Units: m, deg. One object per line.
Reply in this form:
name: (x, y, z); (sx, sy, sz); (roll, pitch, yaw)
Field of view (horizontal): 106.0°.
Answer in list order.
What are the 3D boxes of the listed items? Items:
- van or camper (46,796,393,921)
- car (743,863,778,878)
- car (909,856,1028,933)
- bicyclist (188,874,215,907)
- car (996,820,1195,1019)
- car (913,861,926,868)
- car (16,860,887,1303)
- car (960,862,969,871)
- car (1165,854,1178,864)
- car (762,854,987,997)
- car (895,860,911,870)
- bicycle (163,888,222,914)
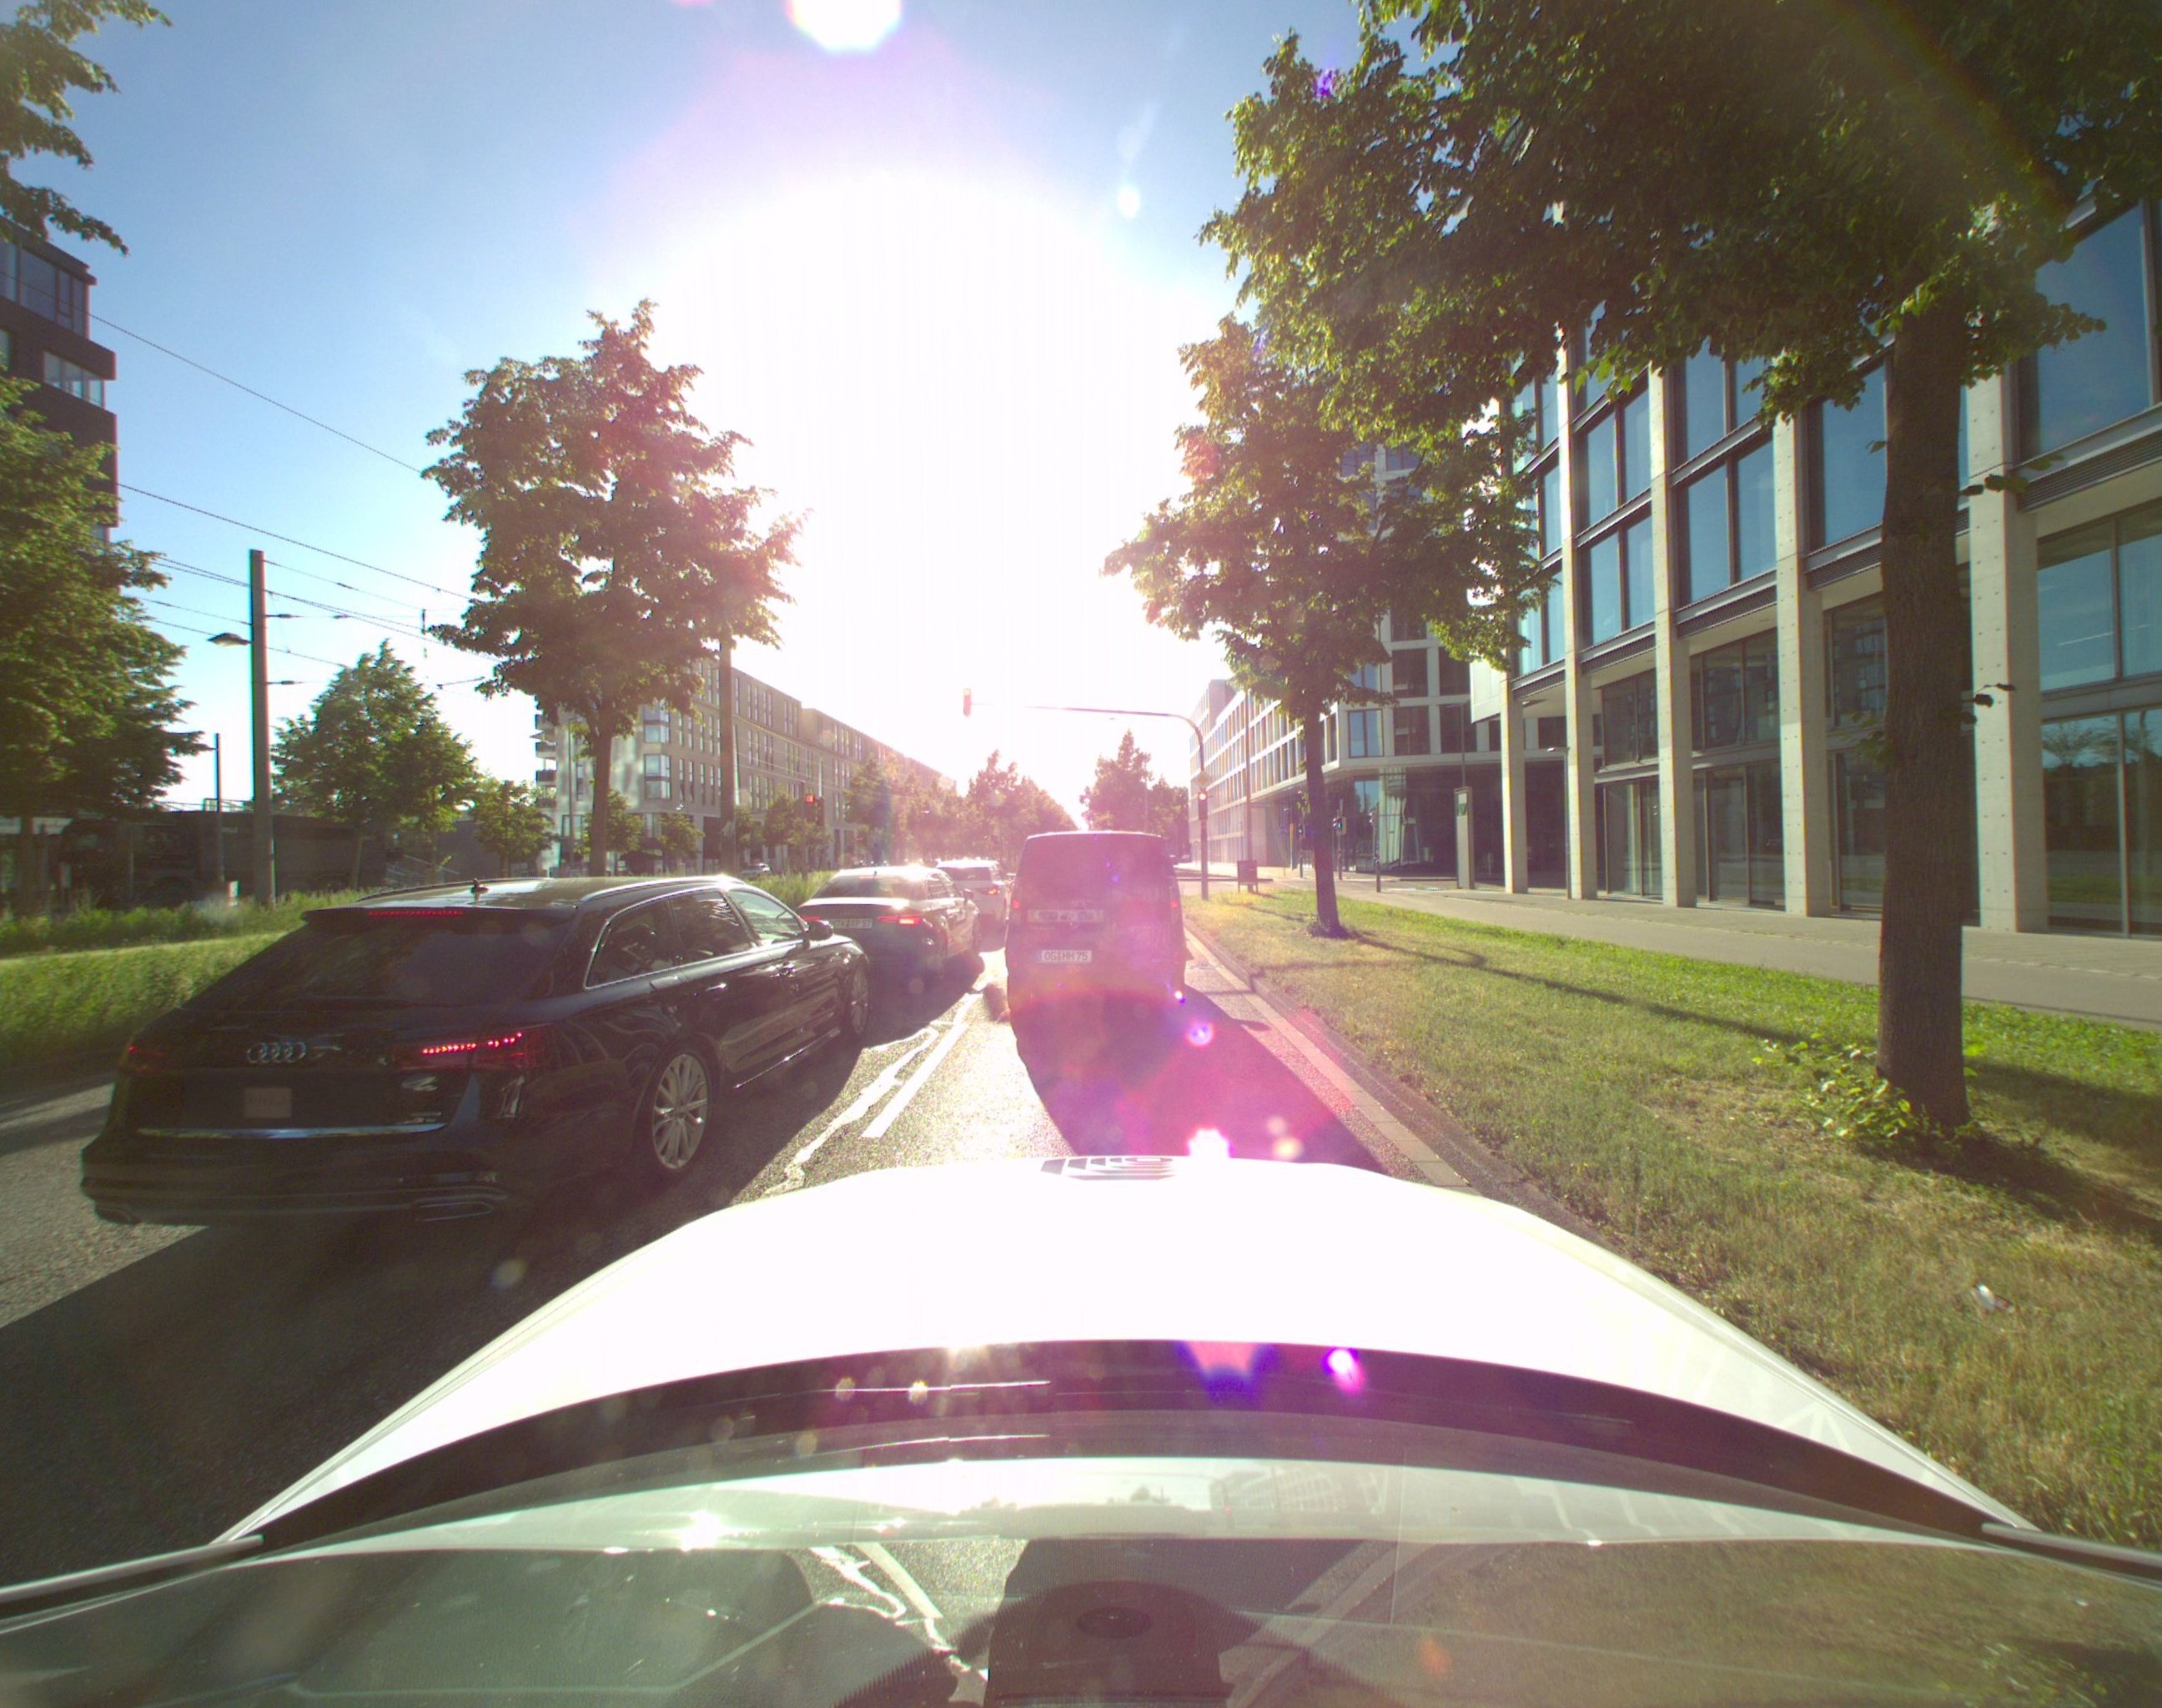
van or camper: (-33.438, 0.166, 32.628); (2.743, 4.192, 10.234); (-1, 0, 2)
car: (-31.593, 1.578, 80.427); (1.574, 1.342, 4.473); (-1, 0, 1)
car: (-2.305, 0.778, 17.699); (1.801, 1.434, 4.115); (-1, 0, 2)
bicyclist: (-38.924, 1.618, 36.046); (0.490, 1.406, 0.626); (0, -1, 1)
car: (0.225, 0.605, 9.544); (1.801, 1.794, 4.115); (-1, 0, 2)
car: (-29.704, 1.941, 150.235); (1.574, 1.342, 3.713); (-1, 0, 1)
car: (-2.723, 0.806, 5.072); (1.801, 1.457, 4.509); (-1, 0, 2)
car: (-28.571, 3.060, 199.902); (1.723, 2.013, 3.999); (-1, 0, -1)
car: (14.209, 0.797, 127.748); (1.750, 1.611, 3.906); (-1, 0, 3)
car: (-2.504, 0.791, 10.986); (1.801, 1.527, 4.115); (-1, 0, 2)
car: (-29.865, 1.856, 137.042); (1.769, 1.528, 3.807); (-1, 0, 1)
bicycle: (-38.929, 2.053, 35.719); (0.525, 1.034, 1.848); (0, -1, 2)
